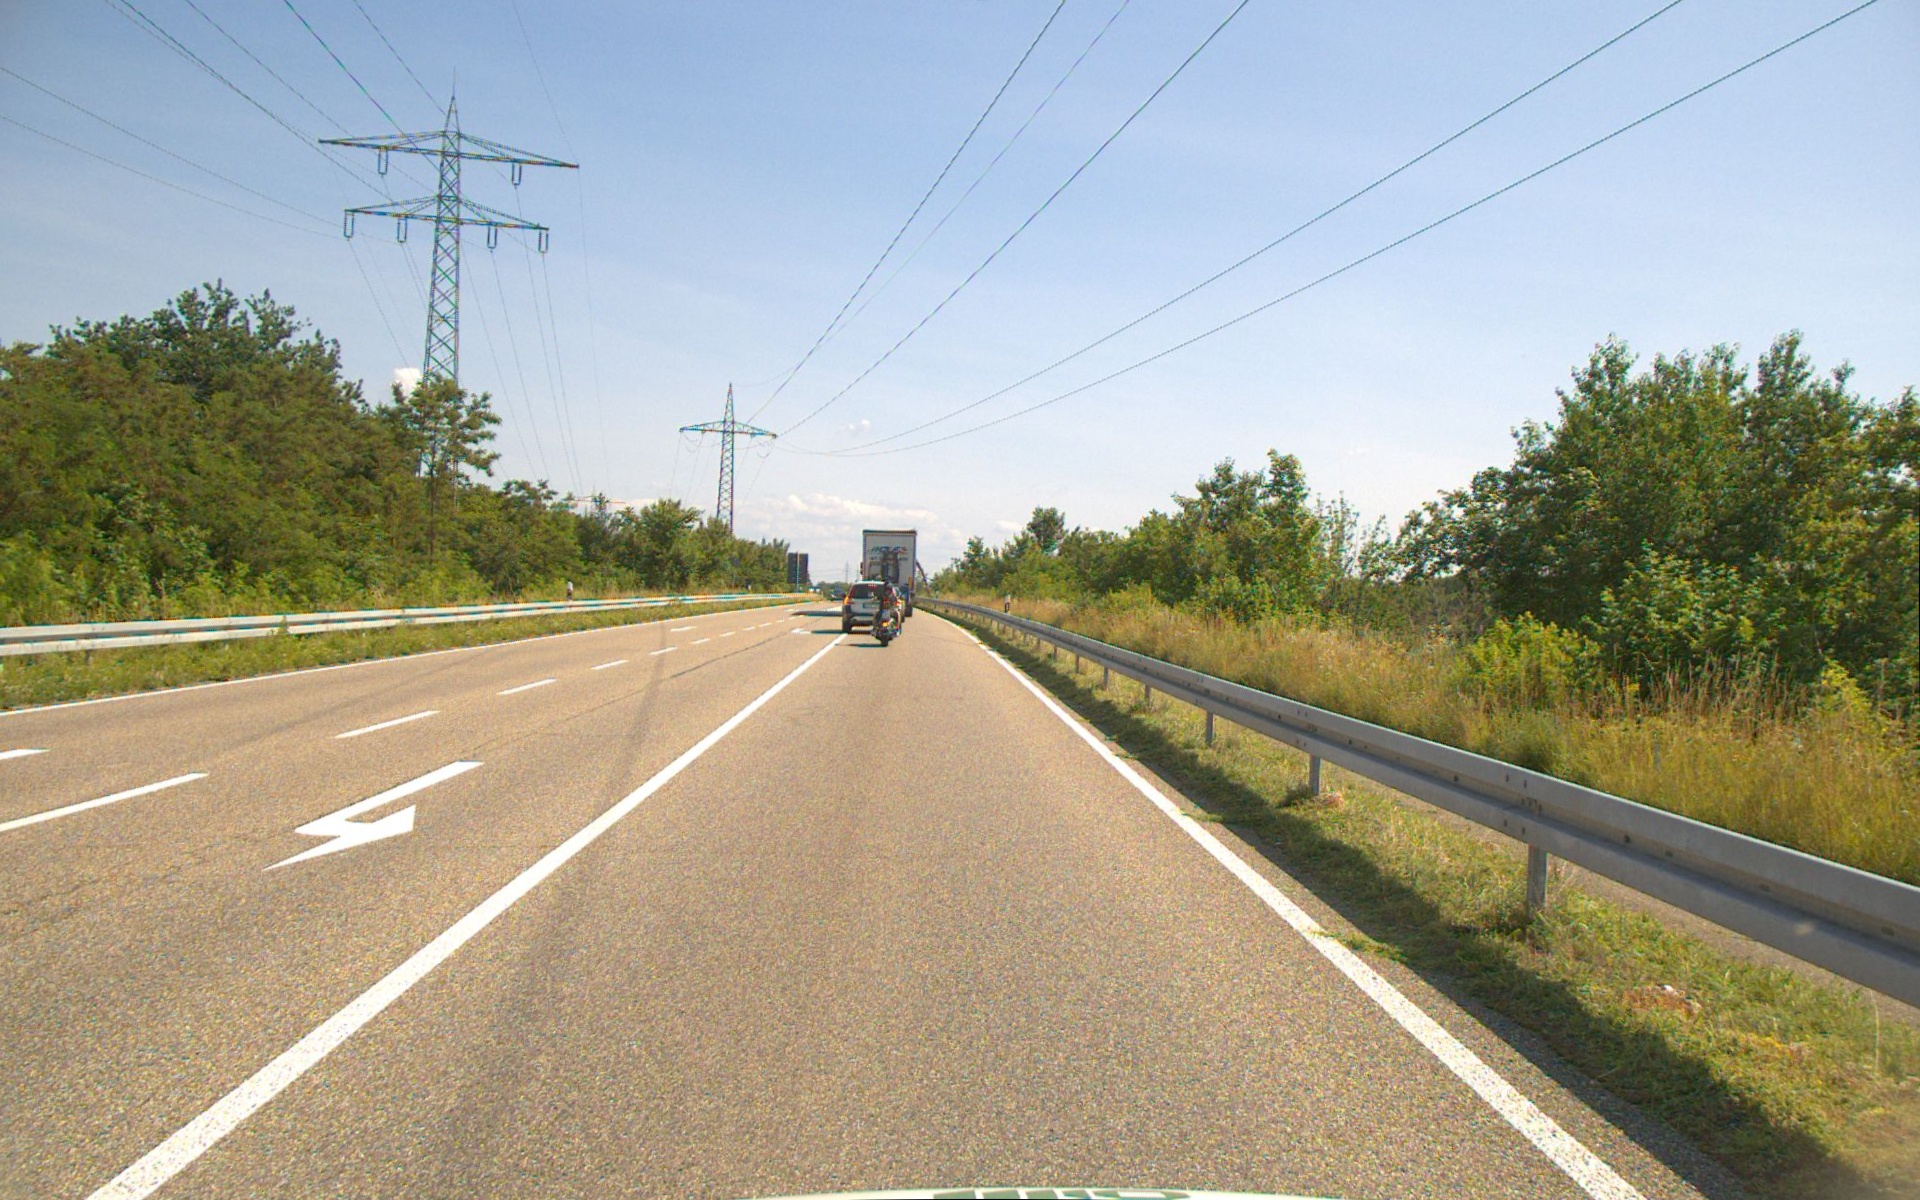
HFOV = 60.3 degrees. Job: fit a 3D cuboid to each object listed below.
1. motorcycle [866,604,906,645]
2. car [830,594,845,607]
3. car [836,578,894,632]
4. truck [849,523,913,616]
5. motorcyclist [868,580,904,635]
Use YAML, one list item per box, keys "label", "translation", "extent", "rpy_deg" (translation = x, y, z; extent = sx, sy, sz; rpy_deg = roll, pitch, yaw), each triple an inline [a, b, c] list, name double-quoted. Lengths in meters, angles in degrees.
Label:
- label: "motorcycle"
  translation: [-1.820, 0.588, 40.439]
  extent: [0.842, 0.931, 2.225]
  rpy_deg: [2, 0, -5]
- label: "car"
  translation: [-14.657, 0.021, 198.595]
  extent: [1.693, 1.517, 4.420]
  rpy_deg: [1, 0, -3]
- label: "car"
  translation: [-2.895, 0.129, 50.665]
  extent: [1.667, 1.563, 3.497]
  rpy_deg: [1, 0, -3]
- label: "truck"
  translation: [-3.973, -1.469, 84.980]
  extent: [2.908, 4.260, 14.816]
  rpy_deg: [1, 0, -2]
- label: "motorcyclist"
  translation: [-1.817, 0.176, 40.527]
  extent: [0.821, 1.303, 0.918]
  rpy_deg: [1, 0, -5]
